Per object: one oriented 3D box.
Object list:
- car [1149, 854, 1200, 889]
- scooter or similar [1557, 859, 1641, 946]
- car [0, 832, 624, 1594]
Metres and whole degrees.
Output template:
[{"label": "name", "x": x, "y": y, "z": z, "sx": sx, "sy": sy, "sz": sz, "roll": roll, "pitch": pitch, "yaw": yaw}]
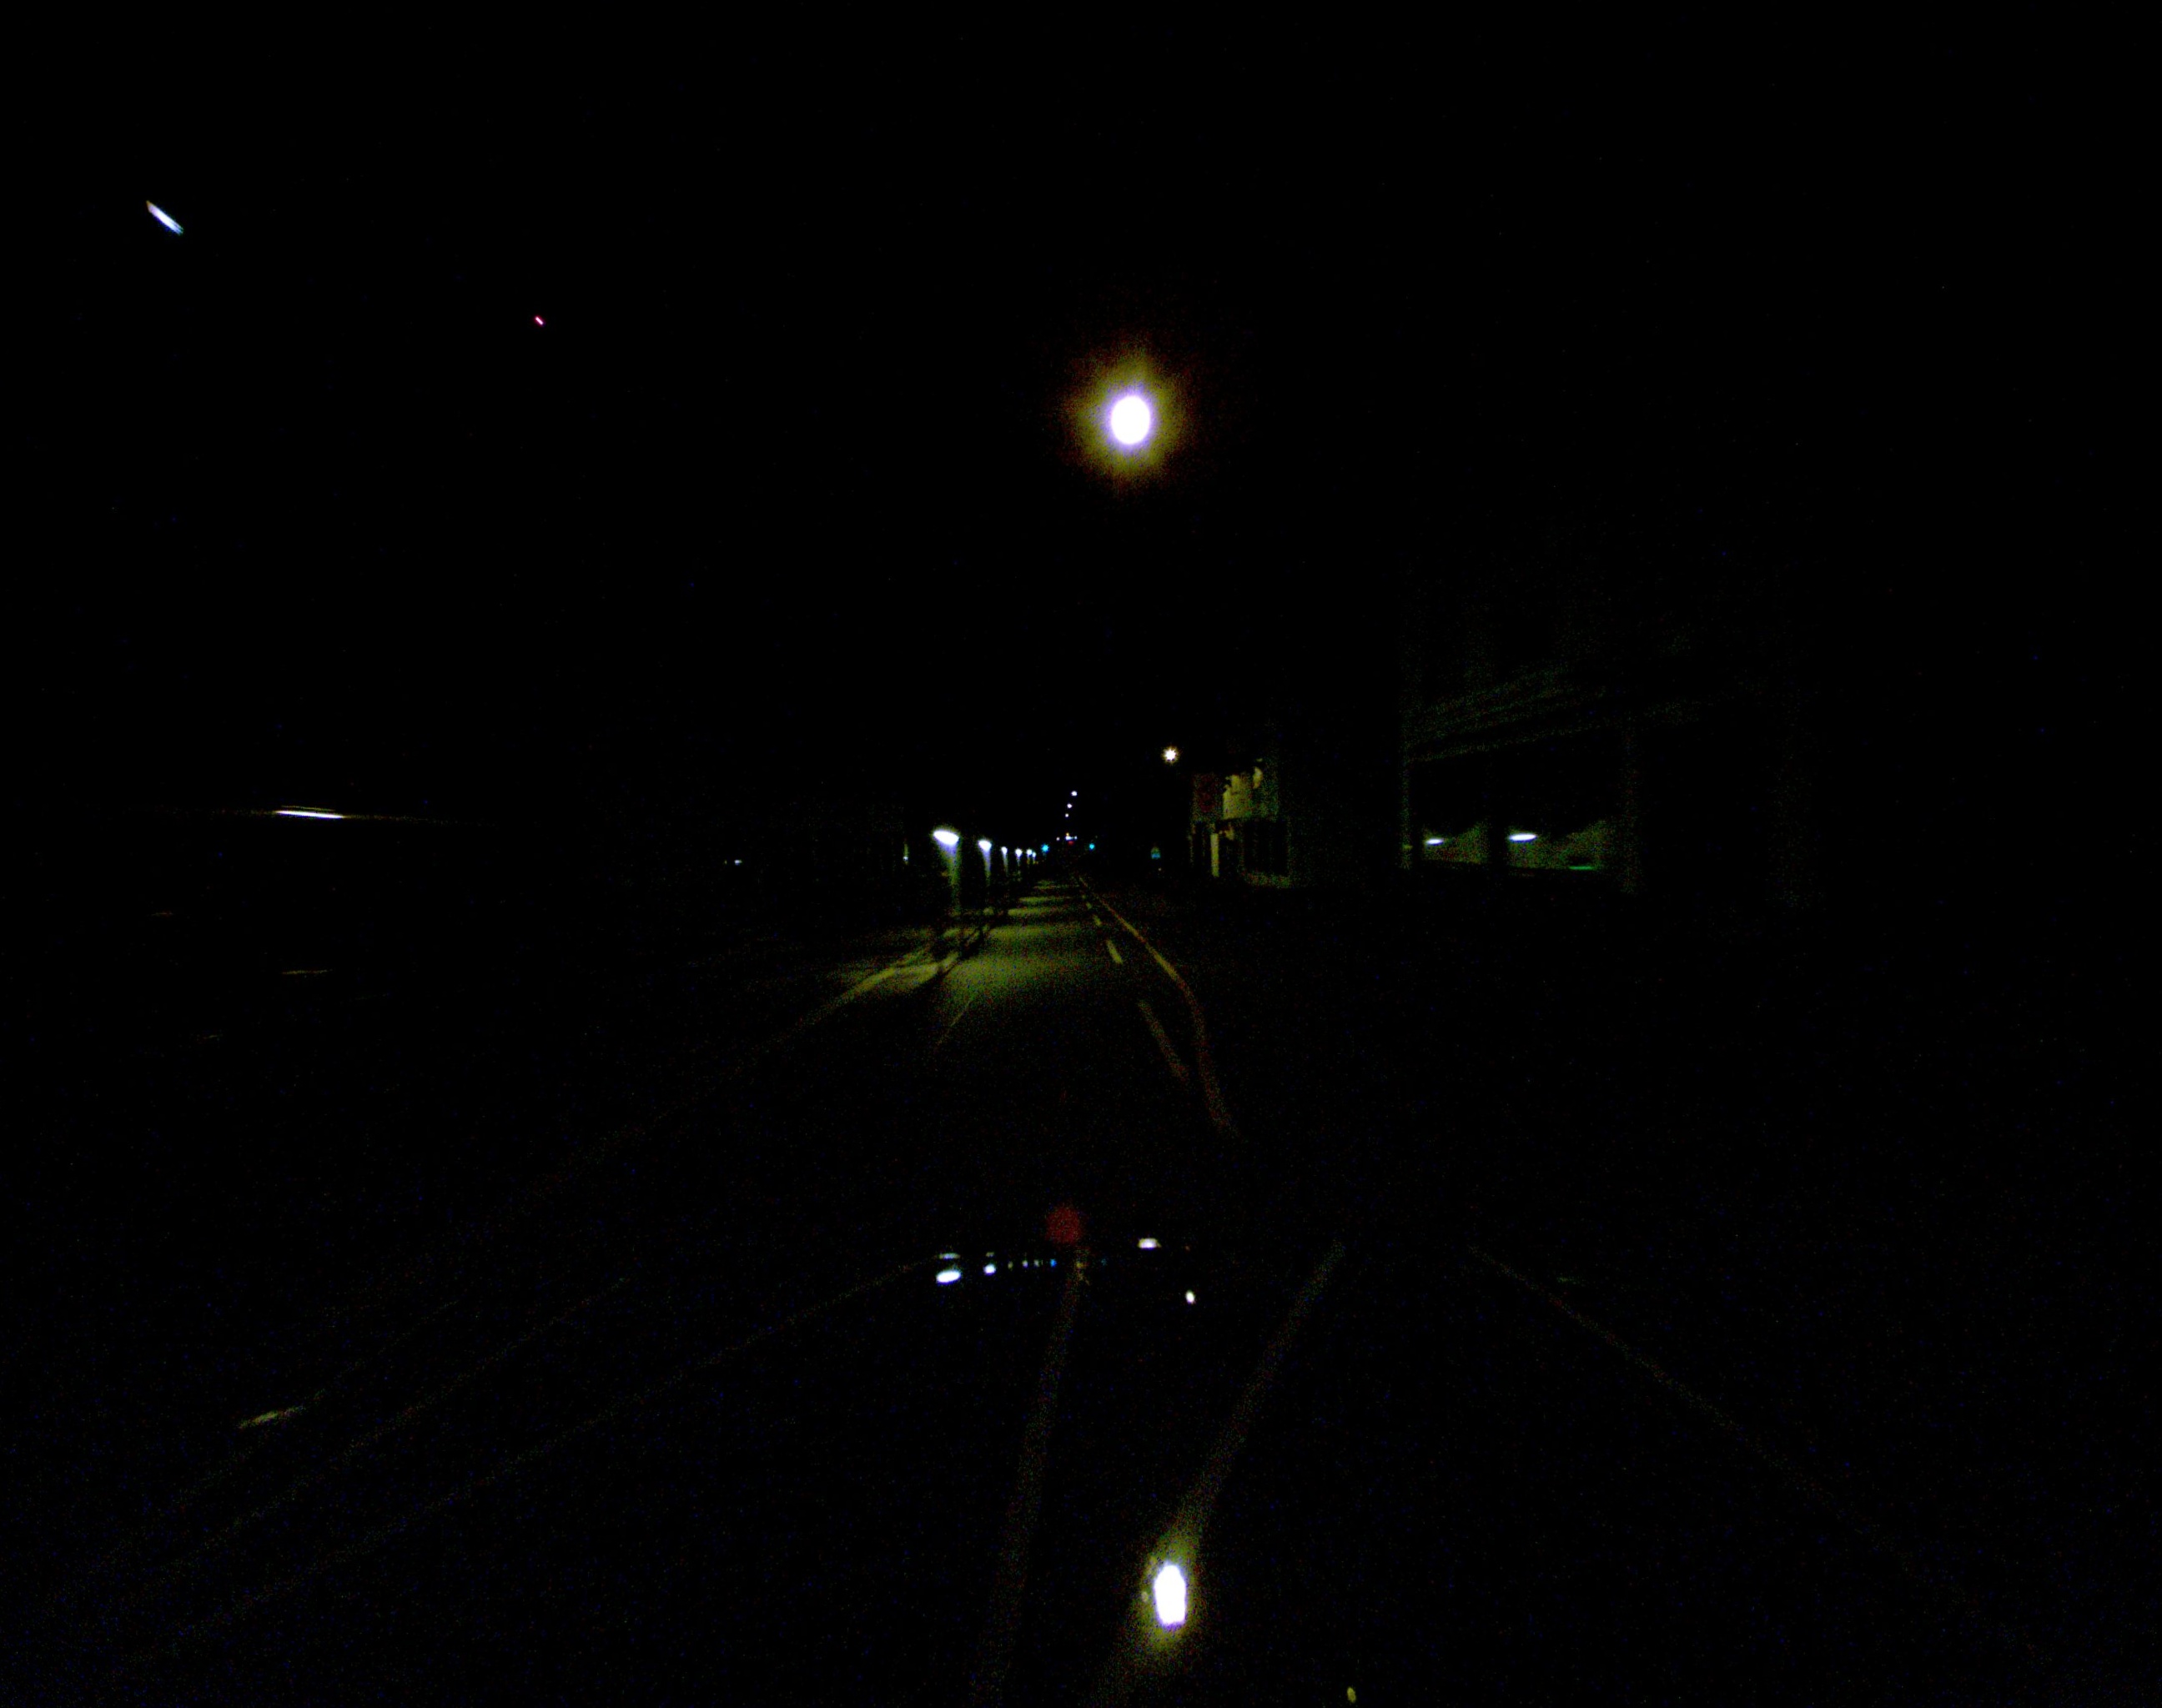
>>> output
[{"label": "car", "x": 4.503, "y": 0.806, "z": 37.221, "sx": 1.731, "sy": 1.477, "sz": 4.290, "roll": -3, "pitch": 0, "yaw": -2}, {"label": "scooter or similar", "x": 7.879, "y": 0.702, "z": 11.610, "sx": 0.332, "sy": 1.218, "sz": 1.335, "roll": -3, "pitch": 1, "yaw": 1}, {"label": "car", "x": -3.577, "y": 0.888, "z": 2.029, "sx": 1.916, "sy": 1.816, "sz": 4.898, "roll": -2, "pitch": 0, "yaw": -4}]
